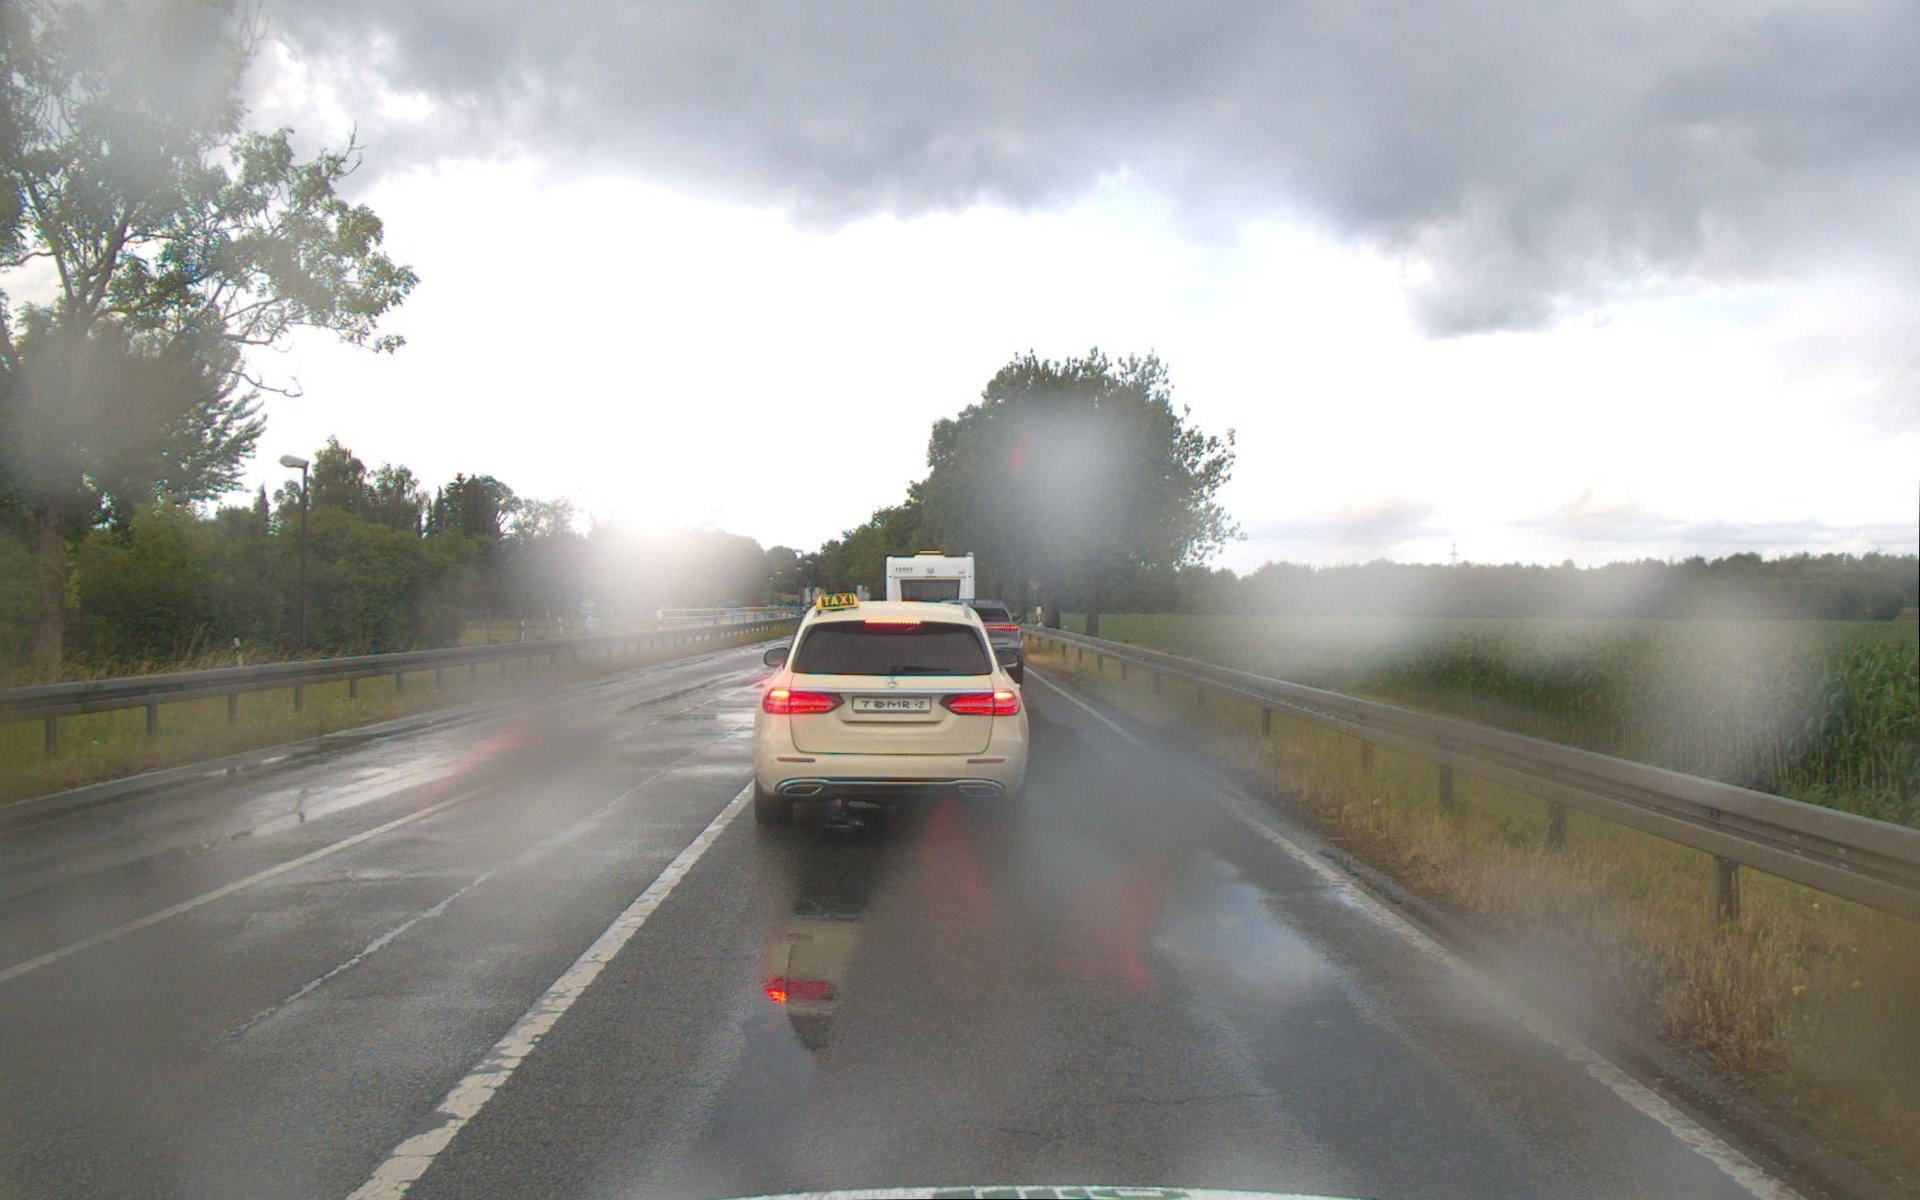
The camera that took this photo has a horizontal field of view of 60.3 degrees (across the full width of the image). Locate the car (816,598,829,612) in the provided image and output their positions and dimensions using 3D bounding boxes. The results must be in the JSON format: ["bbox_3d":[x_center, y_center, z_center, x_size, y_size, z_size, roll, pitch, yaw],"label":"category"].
[{"bbox_3d":[-21.436,0.773,258.041,1.955,2.049,3.995,1,0,-6],"label":"car"}]

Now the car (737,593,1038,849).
[{"bbox_3d":[-0.410,0.724,11.929,1.787,1.511,4.145,0,0,1],"label":"car"}]

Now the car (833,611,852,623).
[{"bbox_3d":[-12.844,1.836,180.951,1.723,1.291,3.999,0,0,-1],"label":"car"}]

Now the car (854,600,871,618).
[{"bbox_3d":[-11.859,1.082,201.235,1.954,2.087,3.997,0,0,-4],"label":"car"}]

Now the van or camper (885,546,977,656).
[{"bbox_3d":[-0.749,0.011,44.232,2.303,2.727,5.767,0,0,-1],"label":"van or camper"}]

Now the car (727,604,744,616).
[{"bbox_3d":[-33.593,1.510,247.862,1.952,1.680,4.000,0,0,1],"label":"car"}]

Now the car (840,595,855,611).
[{"bbox_3d":[-14.596,0.412,214.794,1.954,2.049,3.998,0,0,-3],"label":"car"}]

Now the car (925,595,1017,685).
[{"bbox_3d":[0.178,0.688,30.751,1.594,1.556,3.932,0,0,-1],"label":"car"}]
